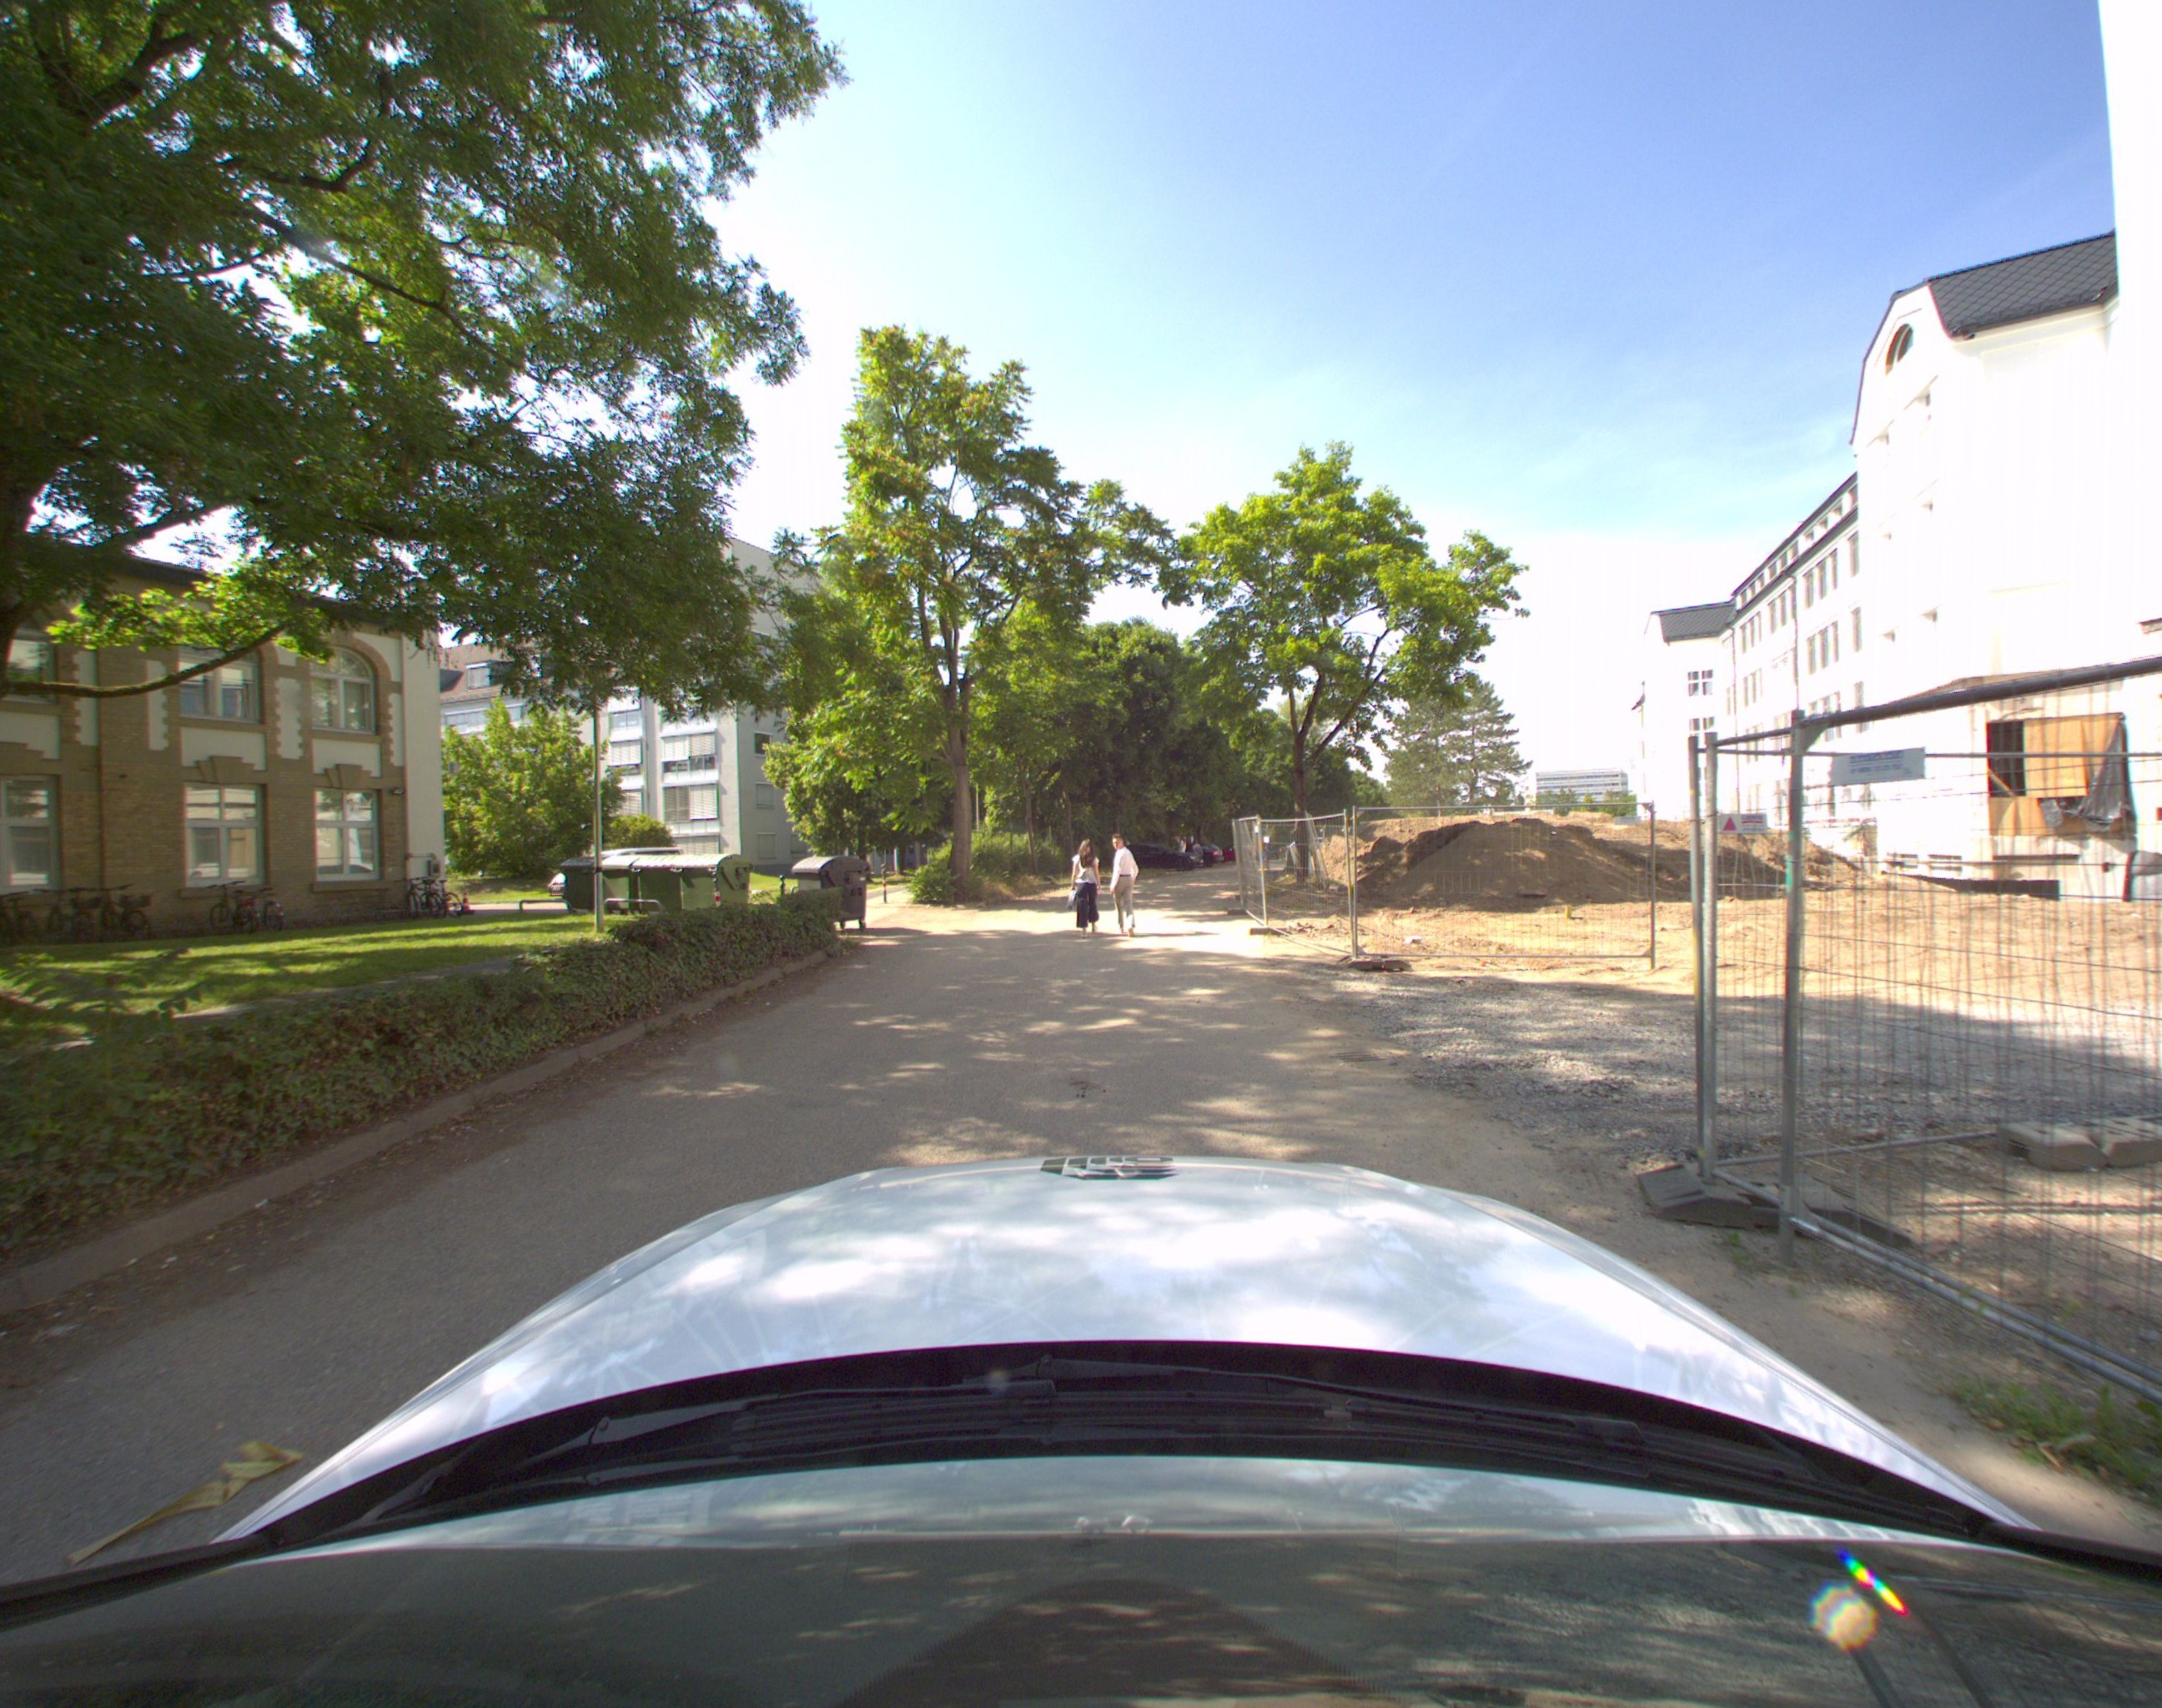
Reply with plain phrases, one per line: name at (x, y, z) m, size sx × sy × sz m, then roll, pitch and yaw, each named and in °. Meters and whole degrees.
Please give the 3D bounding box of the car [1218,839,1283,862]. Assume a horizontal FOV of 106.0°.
car at (12.348, -0.236, 59.340) m, size 4.247 × 1.524 × 1.903 m, roll -1°, pitch 1°, yaw 24°

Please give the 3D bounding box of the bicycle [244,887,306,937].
bicycle at (-17.360, 1.233, 17.533) m, size 1.664 × 0.992 × 0.448 m, roll -1°, pitch 1°, yaw 29°

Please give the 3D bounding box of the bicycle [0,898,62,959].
bicycle at (-18.916, 1.323, 14.647) m, size 1.521 × 0.992 × 0.448 m, roll -1°, pitch 1°, yaw 29°

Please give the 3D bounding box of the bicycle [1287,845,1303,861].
bicycle at (17.409, -0.086, 66.123) m, size 0.708 × 1.284 × 2.653 m, roll -1°, pitch 1°, yaw 26°

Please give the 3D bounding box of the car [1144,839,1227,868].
car at (6.310, -0.023, 48.891) m, size 4.619 × 1.584 × 2.009 m, roll -1°, pitch 2°, yaw 17°

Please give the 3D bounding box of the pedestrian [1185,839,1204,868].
pedestrian at (6.571, -0.031, 47.276) m, size 0.917 × 1.595 × 0.789 m, roll -1°, pitch 1°, yaw 17°

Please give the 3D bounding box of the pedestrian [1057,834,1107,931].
pedestrian at (0.005, 0.477, 14.275) m, size 0.735 × 1.640 × 0.779 m, roll -2°, pitch 1°, yaw -8°

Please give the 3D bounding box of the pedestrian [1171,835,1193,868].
pedestrian at (5.521, -0.128, 44.446) m, size 1.006 × 1.781 × 0.824 m, roll -1°, pitch 0°, yaw 17°

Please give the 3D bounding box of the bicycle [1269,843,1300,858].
bicycle at (18.297, -0.315, 73.188) m, size 2.653 × 1.284 × 0.823 m, roll -1°, pitch 0°, yaw 19°

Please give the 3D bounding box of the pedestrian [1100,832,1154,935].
pedestrian at (0.793, 0.482, 14.288) m, size 0.754 × 1.727 × 0.852 m, roll -2°, pitch 1°, yaw -8°

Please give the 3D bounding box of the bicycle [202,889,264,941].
bicycle at (-17.712, 1.256, 17.004) m, size 1.645 × 0.992 × 0.448 m, roll -1°, pitch 1°, yaw 29°

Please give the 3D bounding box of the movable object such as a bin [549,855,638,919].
movable object such as a bin at (-11.620, 0.781, 19.431) m, size 1.333 × 1.431 × 1.256 m, roll -2°, pitch 0°, yaw 25°

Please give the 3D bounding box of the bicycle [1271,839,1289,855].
bicycle at (16.580, -0.567, 67.803) m, size 0.809 × 1.284 × 2.700 m, roll -1°, pitch 1°, yaw 26°

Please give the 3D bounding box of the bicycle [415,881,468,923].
bicycle at (-16.184, 1.192, 20.595) m, size 1.521 × 0.992 × 0.448 m, roll -1°, pitch 1°, yaw 29°

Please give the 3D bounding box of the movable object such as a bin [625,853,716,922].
movable object such as a bin at (-9.092, 0.732, 18.084) m, size 1.210 × 1.431 × 1.253 m, roll -2°, pitch 0°, yaw 15°

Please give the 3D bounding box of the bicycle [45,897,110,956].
bicycle at (-18.670, 1.327, 15.147) m, size 1.521 × 0.992 × 0.448 m, roll -1°, pitch 1°, yaw 29°

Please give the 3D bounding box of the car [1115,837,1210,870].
car at (4.346, -0.043, 43.275) m, size 4.619 × 1.584 × 2.009 m, roll -1°, pitch 2°, yaw 17°

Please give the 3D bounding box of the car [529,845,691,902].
car at (-17.898, 0.680, 31.258) m, size 1.975 × 1.933 × 5.071 m, roll -2°, pitch 0°, yaw 28°

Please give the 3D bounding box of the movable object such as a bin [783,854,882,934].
movable object such as a bin at (-4.758, 0.725, 15.558) m, size 1.386 × 1.396 × 1.256 m, roll -1°, pitch 1°, yaw 44°

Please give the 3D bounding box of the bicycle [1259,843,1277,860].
bicycle at (14.527, -0.219, 63.278) m, size 0.708 × 1.284 × 2.807 m, roll -1°, pitch 1°, yaw 26°

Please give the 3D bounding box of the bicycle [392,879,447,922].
bicycle at (-16.354, 1.133, 20.130) m, size 1.609 × 0.992 × 0.448 m, roll -1°, pitch 1°, yaw 29°

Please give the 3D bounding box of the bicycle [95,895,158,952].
bicycle at (-18.403, 1.322, 15.691) m, size 1.521 × 0.992 × 0.448 m, roll -1°, pitch 1°, yaw 29°

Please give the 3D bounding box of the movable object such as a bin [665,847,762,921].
movable object such as a bin at (-7.856, 0.625, 17.455) m, size 1.323 × 1.481 × 1.255 m, roll -2°, pitch 0°, yaw 20°

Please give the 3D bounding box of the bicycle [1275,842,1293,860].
bicycle at (15.469, -0.242, 62.038) m, size 0.708 × 1.284 × 2.700 m, roll -1°, pitch 1°, yaw 26°

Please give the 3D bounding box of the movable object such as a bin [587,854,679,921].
movable object such as a bin at (-10.296, 0.751, 18.742) m, size 1.349 × 1.431 × 1.256 m, roll -2°, pitch 0°, yaw 25°

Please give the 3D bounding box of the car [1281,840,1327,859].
car at (21.833, -0.465, 79.790) m, size 3.949 × 1.771 × 1.779 m, roll -1°, pitch 1°, yaw 28°

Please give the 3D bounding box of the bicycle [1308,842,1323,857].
bicycle at (20.955, -0.421, 72.833) m, size 0.809 × 1.284 × 2.763 m, roll -1°, pitch 1°, yaw 26°
